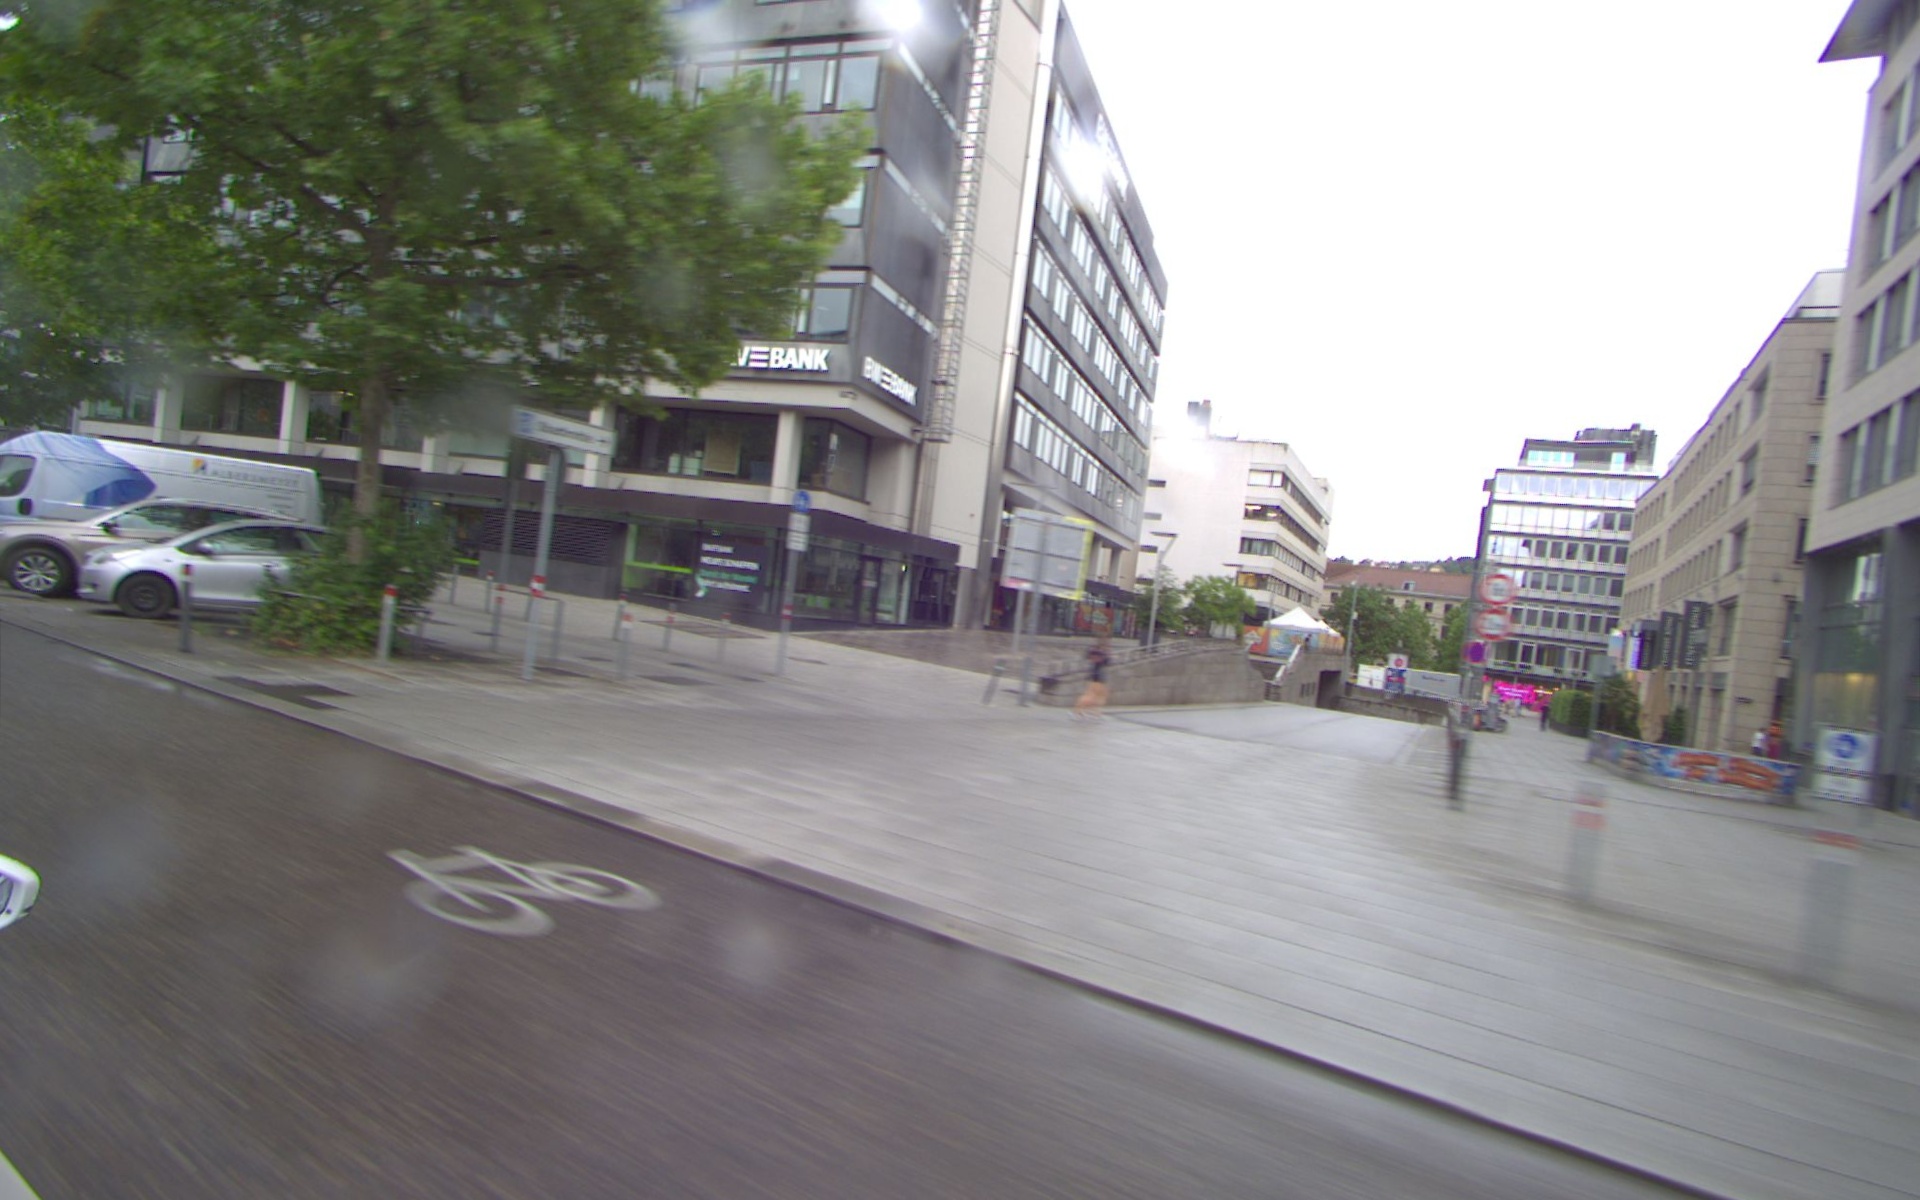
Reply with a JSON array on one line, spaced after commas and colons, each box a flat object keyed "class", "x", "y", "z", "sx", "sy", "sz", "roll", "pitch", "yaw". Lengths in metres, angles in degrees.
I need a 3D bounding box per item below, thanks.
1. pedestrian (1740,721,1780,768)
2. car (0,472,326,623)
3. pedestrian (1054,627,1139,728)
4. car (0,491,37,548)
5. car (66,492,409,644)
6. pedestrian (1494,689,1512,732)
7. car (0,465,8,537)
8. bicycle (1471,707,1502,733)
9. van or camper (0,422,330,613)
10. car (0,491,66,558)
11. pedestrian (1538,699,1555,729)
[{"class": "pedestrian", "x": 34.984, "y": 6.304, "z": 43.994, "sx": 1.068, "sy": 1.853, "sz": 0.727, "roll": 7, "pitch": 0, "yaw": 29}, {"class": "car", "x": -12.389, "y": -0.774, "z": 15.544, "sx": 4.228, "sy": 1.687, "sz": 1.803, "roll": 8, "pitch": -1, "yaw": -32}, {"class": "pedestrian", "x": 2.553, "y": 1.448, "z": 18.813, "sx": 1.176, "sy": 1.717, "sz": 0.800, "roll": 7, "pitch": 0, "yaw": -34}, {"class": "car", "x": -26.202, "y": -2.262, "z": 24.875, "sx": 4.585, "sy": 1.412, "sz": 1.833, "roll": 6, "pitch": 0, "yaw": -30}, {"class": "car", "x": -10.048, "y": -0.399, "z": 14.210, "sx": 3.632, "sy": 1.565, "sz": 1.696, "roll": 8, "pitch": -1, "yaw": -39}, {"class": "pedestrian", "x": 26.582, "y": 5.391, "z": 49.251, "sx": 0.562, "sy": 2.038, "sz": 0.705, "roll": 7, "pitch": 0, "yaw": 29}, {"class": "car", "x": -28.625, "y": -2.948, "z": 26.399, "sx": 4.901, "sy": 2.004, "sz": 1.913, "roll": 6, "pitch": 1, "yaw": -32}, {"class": "bicycle", "x": 24.667, "y": 5.613, "z": 47.147, "sx": 1.176, "sy": 1.052, "sz": 0.350, "roll": 6, "pitch": -1, "yaw": 32}, {"class": "van or camper", "x": -14.687, "y": -1.426, "z": 17.527, "sx": 6.021, "sy": 2.589, "sz": 2.088, "roll": 7, "pitch": 0, "yaw": -31}, {"class": "car", "x": -23.755, "y": -1.987, "z": 23.201, "sx": 4.334, "sy": 1.453, "sz": 1.747, "roll": 7, "pitch": -1, "yaw": -32}, {"class": "pedestrian", "x": 35.027, "y": 6.801, "z": 60.122, "sx": 0.677, "sy": 1.651, "sz": 0.682, "roll": 7, "pitch": 0, "yaw": 34}]
